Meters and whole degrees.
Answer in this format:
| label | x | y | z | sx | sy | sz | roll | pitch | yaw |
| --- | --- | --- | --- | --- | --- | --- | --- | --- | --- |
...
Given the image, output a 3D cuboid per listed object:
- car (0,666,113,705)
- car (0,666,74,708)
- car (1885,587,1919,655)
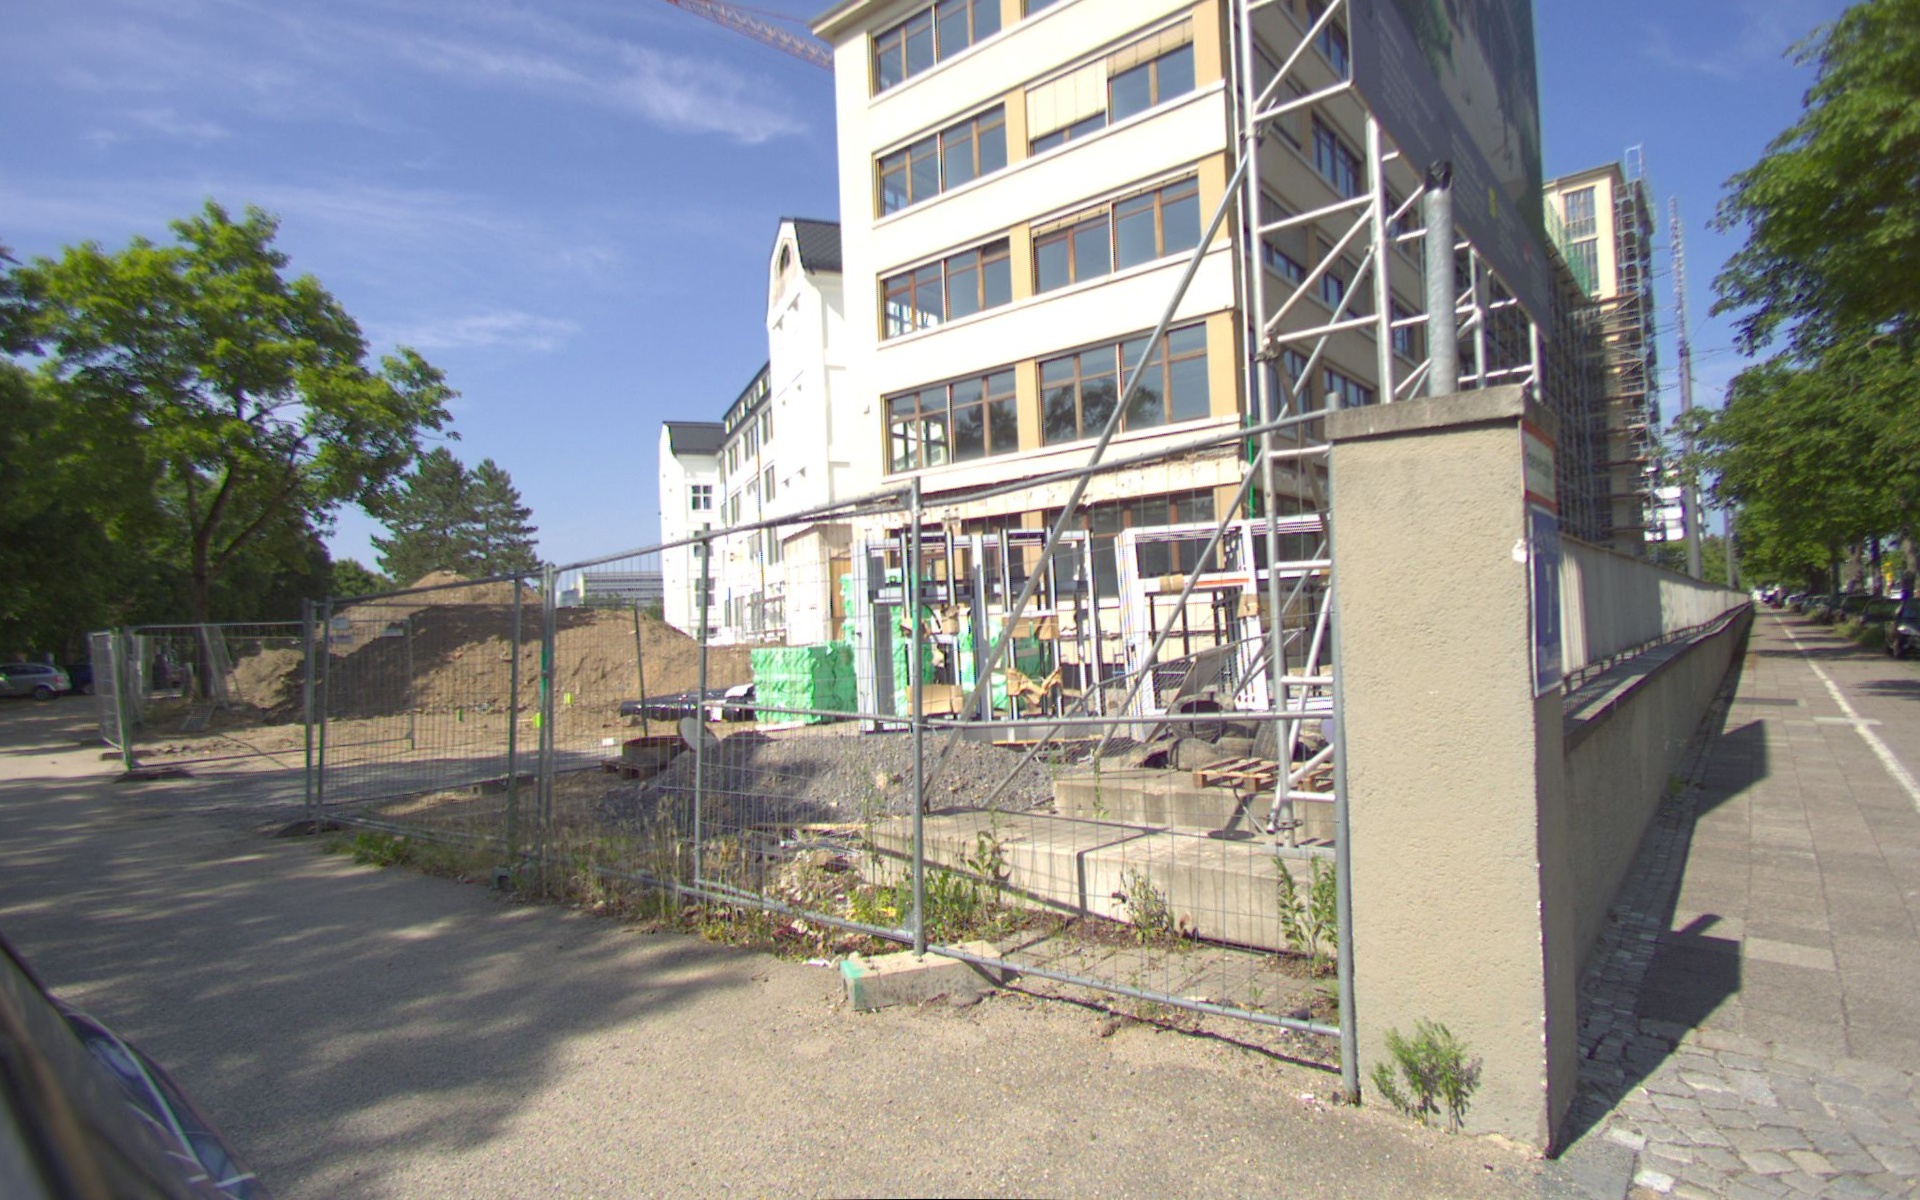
| label | x | y | z | sx | sy | sz | roll | pitch | yaw |
| --- | --- | --- | --- | --- | --- | --- | --- | --- | --- |
| car | -40.665 | 3.804 | 45.282 | 3.932 | 1.453 | 2.006 | -1 | -2 | -31 |
| car | -38.244 | 3.503 | 40.461 | 3.932 | 1.519 | 2.006 | -1 | -2 | -31 |
| car | 22.669 | 0.421 | 23.168 | 1.819 | 1.464 | 3.949 | -4 | -2 | 38 |
